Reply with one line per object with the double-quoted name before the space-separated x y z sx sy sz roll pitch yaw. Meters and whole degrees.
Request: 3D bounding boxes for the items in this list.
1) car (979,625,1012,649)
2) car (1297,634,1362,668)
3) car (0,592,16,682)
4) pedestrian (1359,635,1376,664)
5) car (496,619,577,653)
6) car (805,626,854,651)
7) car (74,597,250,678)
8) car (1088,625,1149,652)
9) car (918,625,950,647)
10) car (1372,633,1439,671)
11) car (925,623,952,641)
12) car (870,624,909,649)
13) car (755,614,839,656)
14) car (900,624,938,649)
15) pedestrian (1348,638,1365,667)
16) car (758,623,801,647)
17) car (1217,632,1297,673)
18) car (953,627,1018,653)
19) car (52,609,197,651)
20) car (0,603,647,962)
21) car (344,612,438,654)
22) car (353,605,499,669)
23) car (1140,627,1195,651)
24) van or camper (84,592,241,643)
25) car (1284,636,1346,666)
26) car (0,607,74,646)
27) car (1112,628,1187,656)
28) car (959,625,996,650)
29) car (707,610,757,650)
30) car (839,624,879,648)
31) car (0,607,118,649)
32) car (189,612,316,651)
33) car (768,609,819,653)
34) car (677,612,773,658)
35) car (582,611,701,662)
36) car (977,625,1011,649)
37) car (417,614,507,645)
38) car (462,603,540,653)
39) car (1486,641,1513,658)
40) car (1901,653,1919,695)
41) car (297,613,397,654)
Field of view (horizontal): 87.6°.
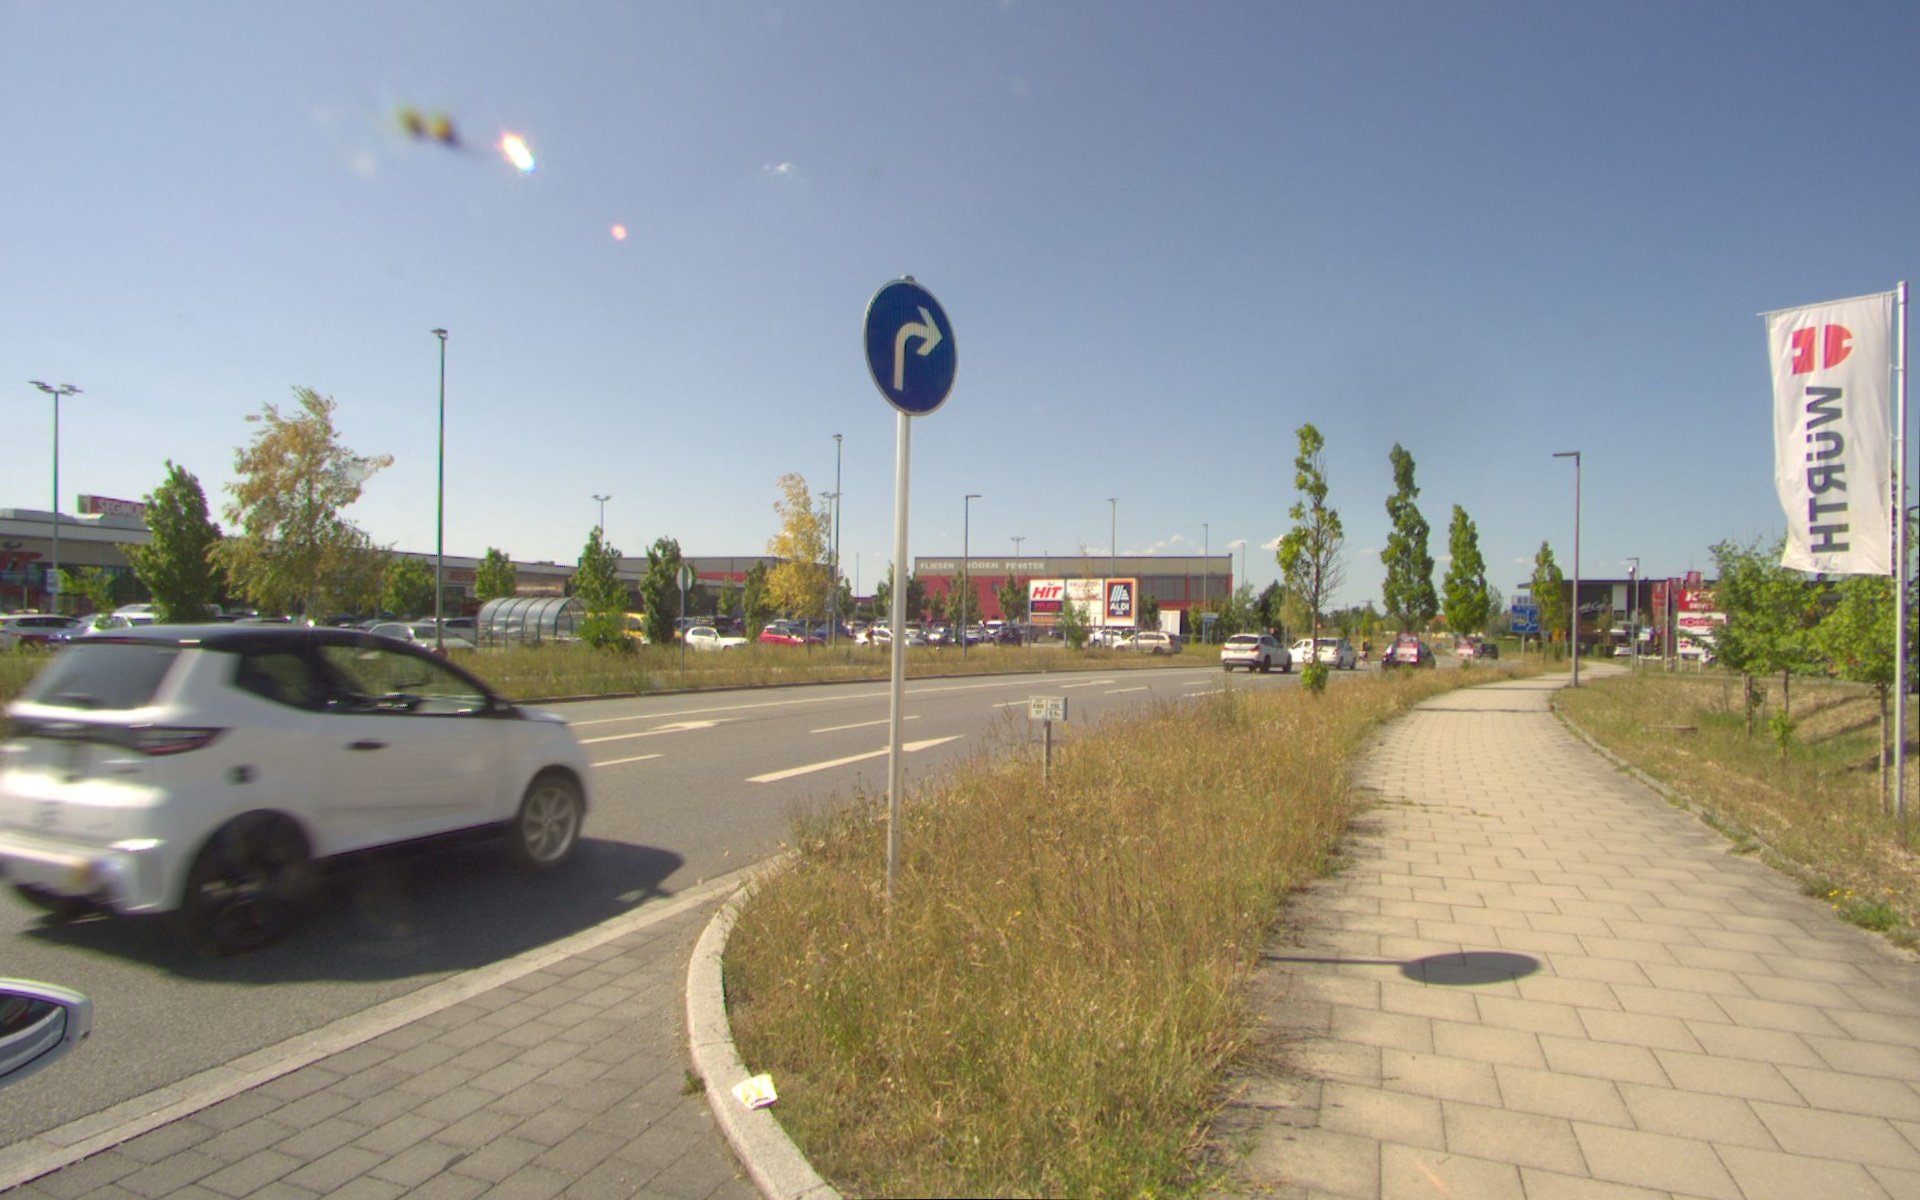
"car" 3.224 3.337 90.267 1.964 2.064 4.480 0 -2 17
"car" 17.773 2.422 48.059 1.721 1.571 3.754 -1 -2 41
"car" -24.216 0.795 22.859 5.142 2.040 2.082 0 -1 25
"pedestrian" 24.568 2.977 60.379 0.700 1.686 0.663 1 0 -27
"car" -24.712 2.100 58.634 1.964 1.887 4.480 0 -2 17
"car" -9.508 2.803 73.349 1.964 1.807 4.311 0 -2 17
"car" -22.038 0.971 27.605 5.040 2.040 2.155 0 -1 31
"car" 12.596 3.076 79.521 4.415 2.064 1.992 0 -2 29
"car" -2.559 3.615 100.498 1.964 2.064 4.480 0 -2 17
"car" 20.005 2.276 44.893 1.974 1.570 3.819 0 -1 37
"car" -2.643 3.959 123.776 1.964 2.064 4.480 0 -2 17
"car" -6.091 3.145 86.930 1.964 2.064 4.480 0 -2 17
"car" -8.396 1.804 51.433 4.083 2.039 1.872 0 -2 36
"car" -3.514 3.156 86.559 1.964 2.064 4.480 0 -2 17
"pedestrian" 23.801 3.152 60.146 0.700 1.686 0.663 1 0 -27
"car" -16.024 3.130 89.281 1.964 2.064 4.480 0 -2 17
"car" 12.316 2.135 41.296 1.719 1.571 4.541 -1 -2 37
"car" 1.818 2.907 73.013 4.428 1.783 1.987 -1 -2 38
"car" -30.043 1.054 36.137 1.699 1.408 3.729 1 -1 13
"car" -3.432 0.822 5.899 1.454 1.509 2.994 0 -2 22
"car" -30.829 1.792 54.428 1.962 2.219 4.484 0 -2 11
"car" -18.447 1.228 34.543 5.040 2.040 2.155 0 -1 31
"car" 18.324 3.414 88.384 4.415 2.064 1.992 0 -2 29
"van or camper" -34.199 0.771 43.137 1.964 2.040 5.044 1 -1 19
"car" 19.758 2.809 55.921 1.708 1.571 3.783 1 -2 -8
"car" -35.550 0.977 37.133 1.699 1.408 3.729 1 -1 13
"car" 12.149 2.666 64.248 4.408 1.737 1.996 0 -2 23
"car" 1.510 3.134 84.444 1.964 2.064 4.480 0 -2 17
"car" -17.052 2.267 75.153 1.962 2.857 4.484 0 -2 11
"car" -8.772 3.140 87.527 1.964 2.064 4.480 0 -2 17
"car" -32.808 0.983 35.924 1.699 1.408 3.729 1 -1 13
"car" -29.157 1.311 41.423 1.841 1.527 3.995 0 -2 18
"car" -11.142 2.068 67.326 1.962 2.857 4.484 0 -2 11
"car" -11.145 1.644 47.403 4.348 2.039 1.934 0 -2 34
"car" -13.727 1.547 43.065 5.044 2.040 2.153 0 -1 34
"car" 3.098 3.337 90.290 1.964 2.064 4.480 0 -2 17
"car" -26.186 1.559 52.799 1.626 1.539 4.344 0 -2 18
"car" -27.294 1.674 59.662 1.962 2.857 4.484 0 -2 11
"car" 51.580 4.702 95.660 1.887 1.571 4.365 0 -2 33
"car" 35.911 2.704 36.561 1.855 1.484 4.335 0 -2 38
"car" -33.760 1.838 55.284 1.965 2.129 4.477 0 -2 21
